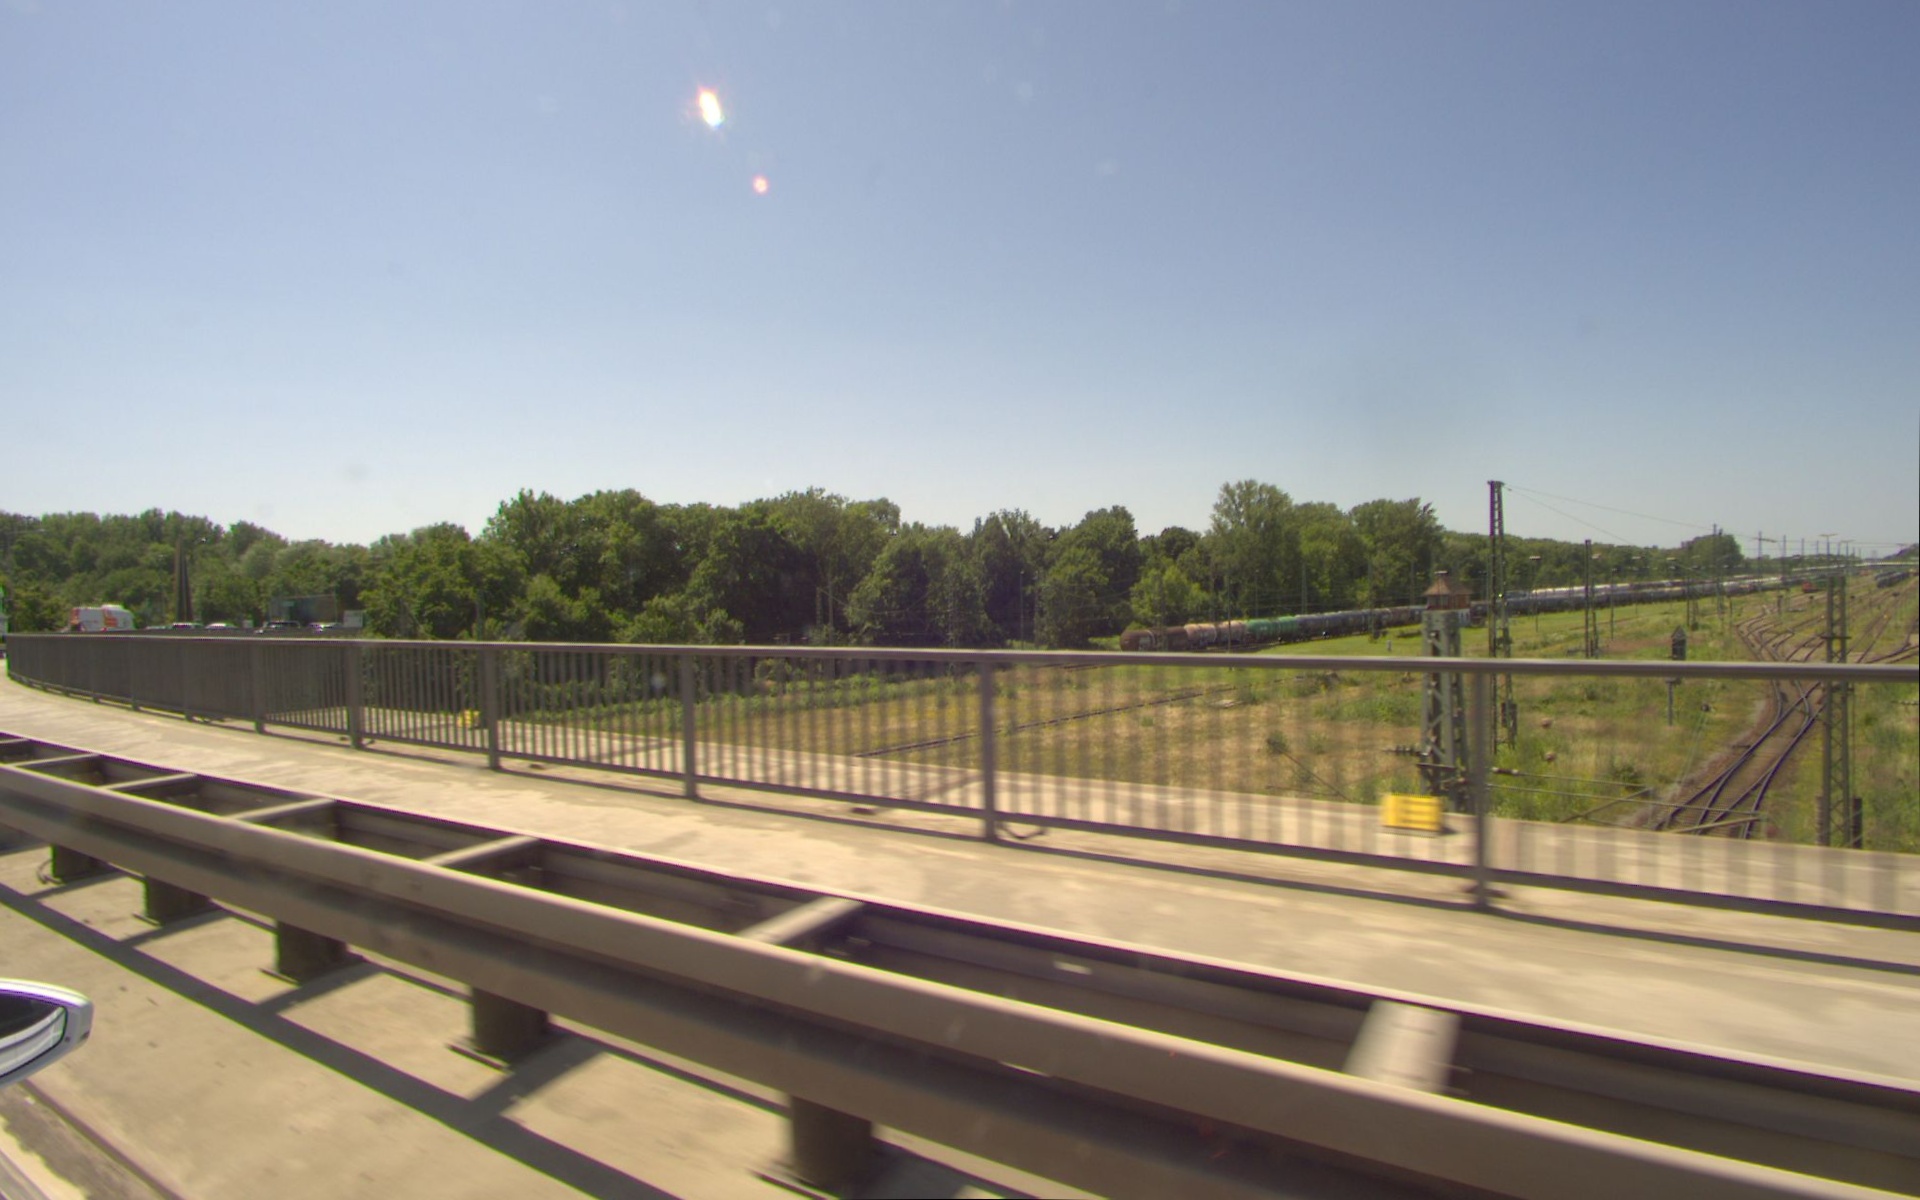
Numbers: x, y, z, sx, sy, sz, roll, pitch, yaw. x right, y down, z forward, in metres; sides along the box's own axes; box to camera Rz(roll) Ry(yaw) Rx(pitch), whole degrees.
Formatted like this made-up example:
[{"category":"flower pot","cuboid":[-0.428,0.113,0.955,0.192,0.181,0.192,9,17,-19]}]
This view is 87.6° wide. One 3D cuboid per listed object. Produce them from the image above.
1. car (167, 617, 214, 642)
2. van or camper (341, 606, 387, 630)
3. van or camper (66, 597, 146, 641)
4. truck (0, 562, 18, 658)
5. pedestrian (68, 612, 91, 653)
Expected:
[{"category":"car","cuboid":[-60.077,2.322,78.265,1.863,1.873,3.990,0,-2,-22]},{"category":"van or camper","cuboid":[-71.076,2.181,119.490,2.444,2.318,4.967,5,-5,-3]},{"category":"van or camper","cuboid":[-55.928,1.247,65.744,2.173,2.746,5.909,0,-1,-22]},{"category":"truck","cuboid":[-47.684,0.456,47.443,3.138,4.643,7.353,1,-2,-33]},{"category":"pedestrian","cuboid":[-42.901,1.577,48.794,0.729,1.992,0.730,0,-1,-32]}]
